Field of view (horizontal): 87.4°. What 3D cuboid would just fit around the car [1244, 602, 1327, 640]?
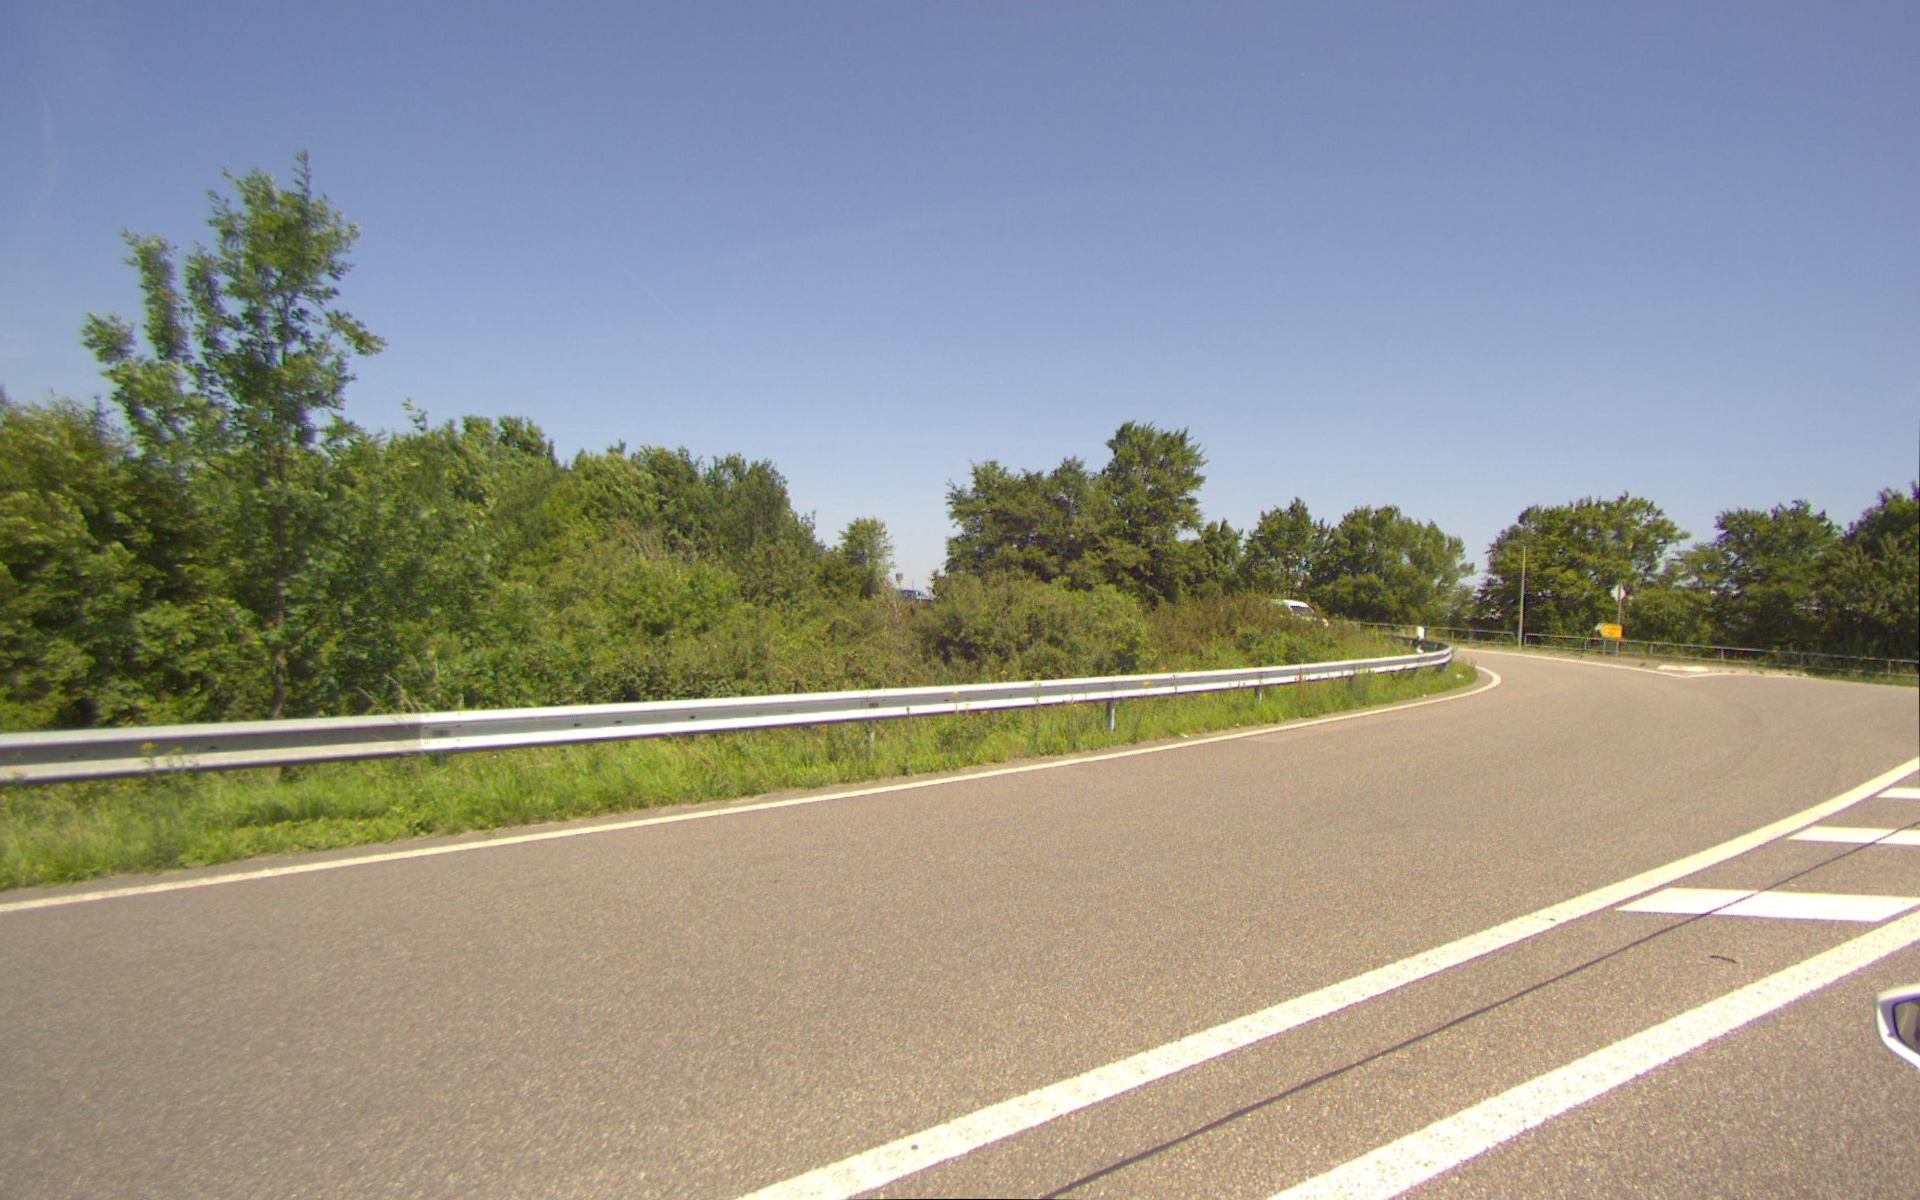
[{"bbox_3d":[16.018,1.021,49.685,1.716,1.785,4.062,1,0,-21],"label":"car"}]
